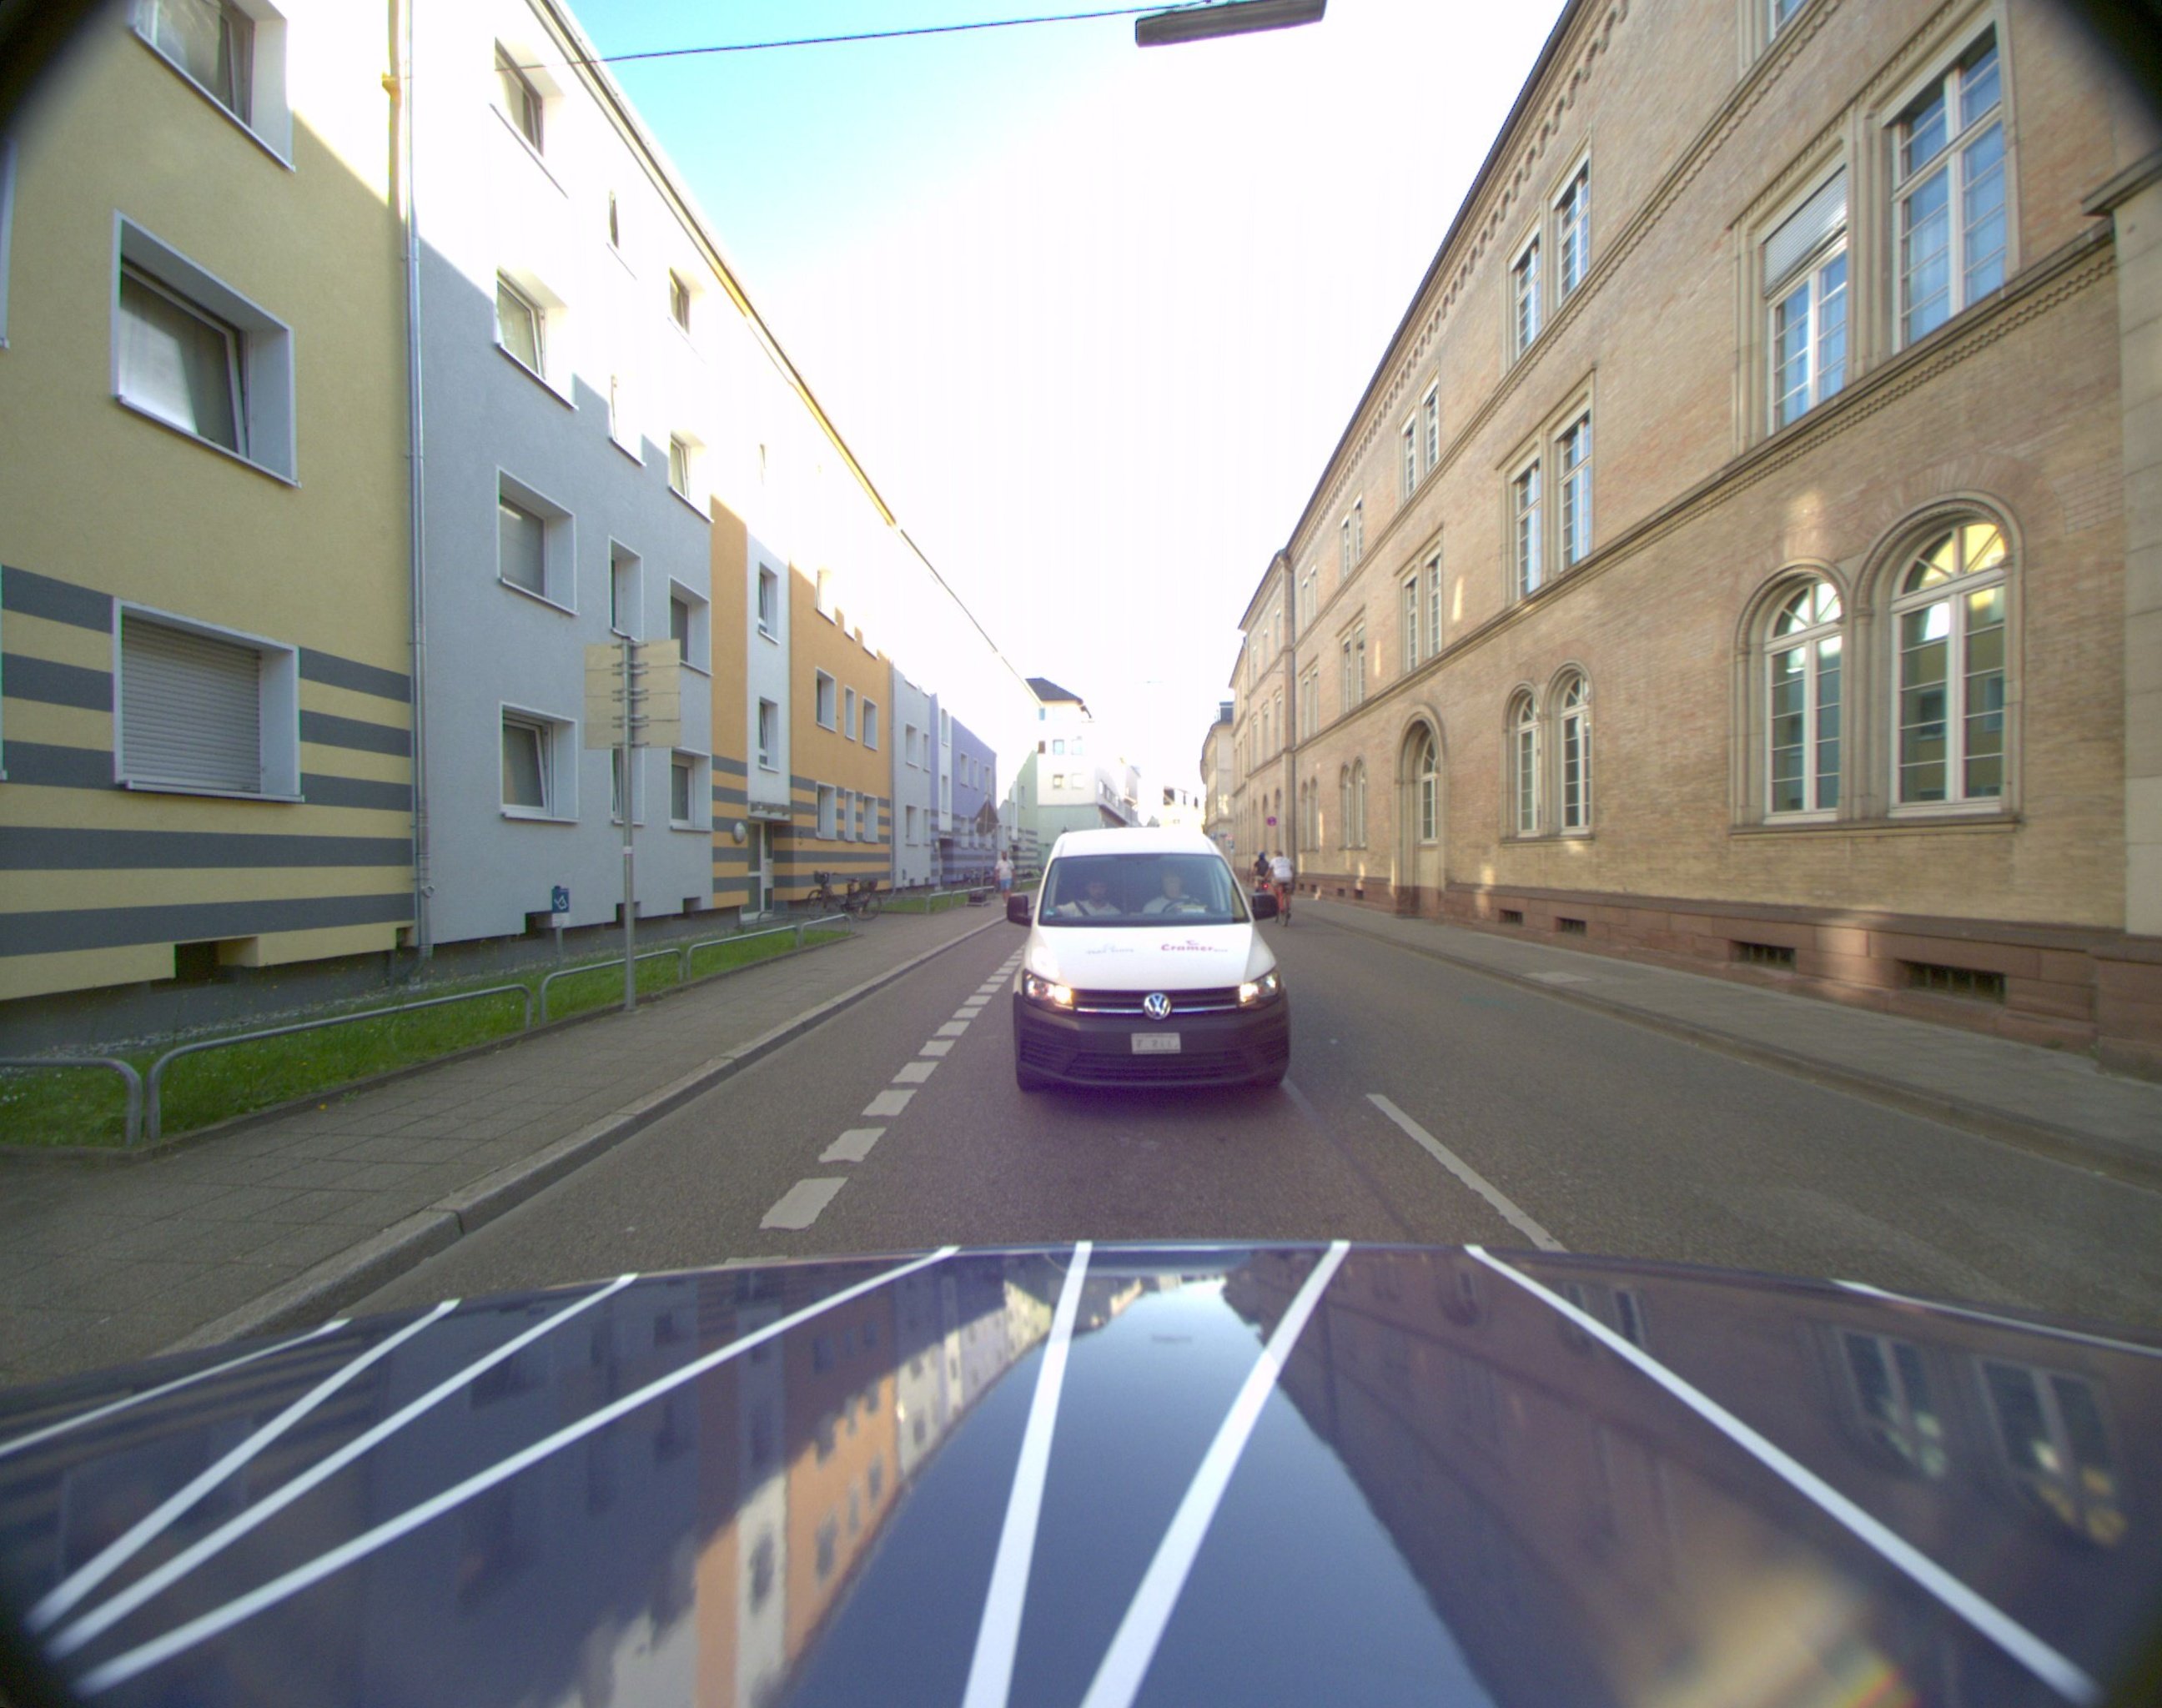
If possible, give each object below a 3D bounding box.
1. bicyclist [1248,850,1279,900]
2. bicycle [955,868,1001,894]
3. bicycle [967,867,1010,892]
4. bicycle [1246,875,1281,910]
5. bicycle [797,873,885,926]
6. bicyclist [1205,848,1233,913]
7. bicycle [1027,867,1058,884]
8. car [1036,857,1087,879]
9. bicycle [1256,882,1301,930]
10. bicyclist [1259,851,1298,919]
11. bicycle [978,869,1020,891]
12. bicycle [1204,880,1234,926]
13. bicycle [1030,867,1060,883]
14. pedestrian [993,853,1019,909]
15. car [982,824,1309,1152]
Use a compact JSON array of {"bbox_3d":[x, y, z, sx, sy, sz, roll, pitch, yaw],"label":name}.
[{"bbox_3d":[5.692,0.653,23.737,0.651,1.500,1.111,2,0,2],"label":"bicyclist"},{"bbox_3d":[-4.322,1.122,31.896,1.775,0.990,0.584,1,1,7],"label":"bicycle"},{"bbox_3d":[-4.045,1.112,33.239,1.775,0.990,0.584,1,1,7],"label":"bicycle"},{"bbox_3d":[5.681,1.183,23.733,0.651,1.001,1.876,2,0,2],"label":"bicycle"},{"bbox_3d":[-5.391,1.021,17.140,1.776,1.118,0.583,1,1,-1],"label":"bicycle"},{"bbox_3d":[3.317,0.627,18.366,0.546,1.524,0.870,2,0,6],"label":"bicyclist"},{"bbox_3d":[-2.310,1.294,46.110,1.775,0.934,0.584,1,1,7],"label":"bicycle"},{"bbox_3d":[-1.588,1.156,63.513,3.995,1.681,1.901,-2,1,5],"label":"car"},{"bbox_3d":[4.643,1.205,17.986,0.651,1.001,1.807,2,0,3],"label":"bicycle"},{"bbox_3d":[4.649,0.717,17.967,0.651,1.558,0.961,2,0,3],"label":"bicyclist"},{"bbox_3d":[-3.655,1.150,33.855,1.775,0.934,0.584,1,1,7],"label":"bicycle"},{"bbox_3d":[3.292,1.148,18.228,0.546,1.001,1.758,2,0,6],"label":"bicycle"},{"bbox_3d":[-2.230,1.325,47.647,1.775,0.934,0.584,1,1,7],"label":"bicycle"},{"bbox_3d":[-2.286,0.808,23.274,0.644,1.662,0.834,1,0,3],"label":"pedestrian"},{"bbox_3d":[0.397,0.759,6.919,1.819,1.825,5.341,0,0,1],"label":"car"}]
